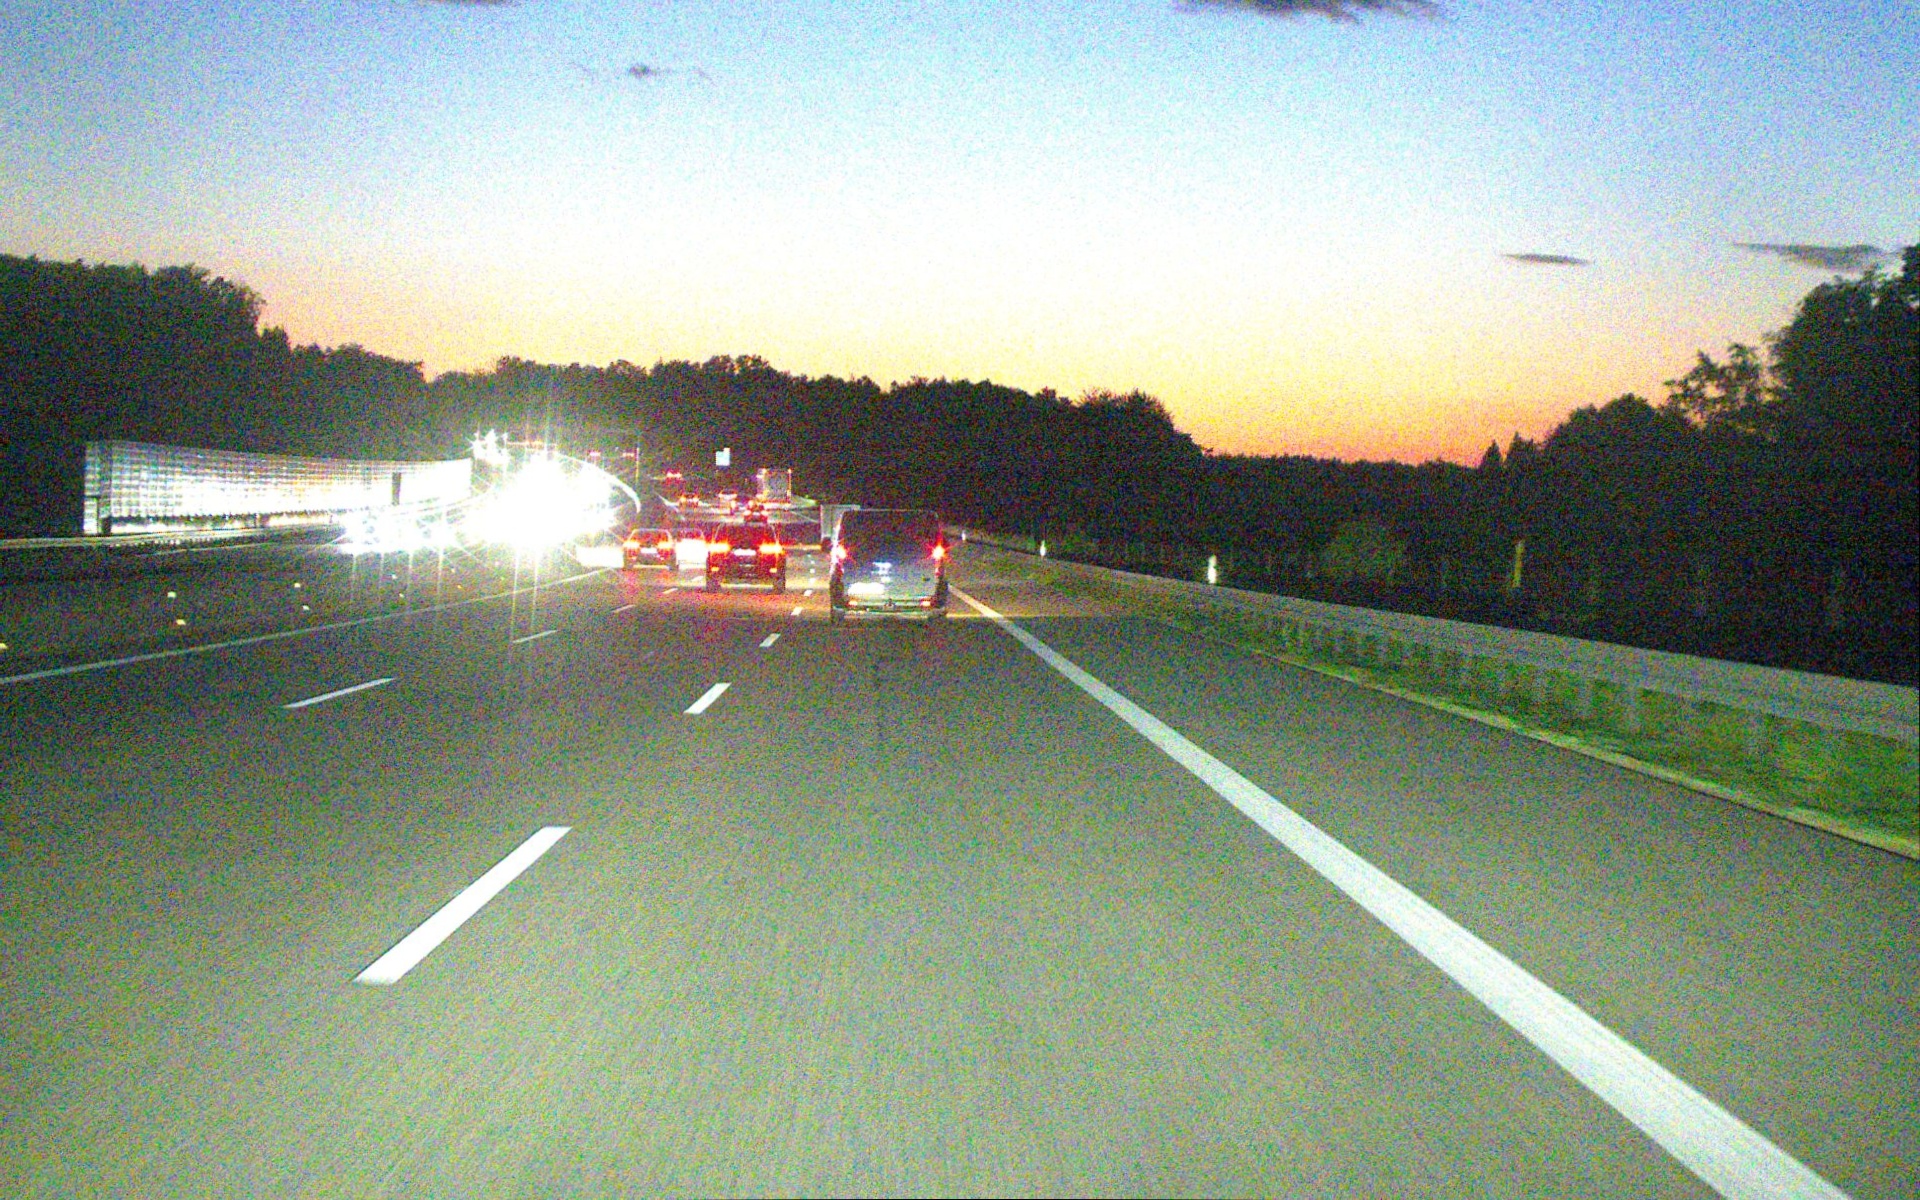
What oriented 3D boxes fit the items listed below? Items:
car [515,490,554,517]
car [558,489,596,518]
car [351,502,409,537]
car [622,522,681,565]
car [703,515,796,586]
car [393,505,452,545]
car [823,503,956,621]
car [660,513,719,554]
[{"bbox_3d":[-28.818,-6.523,232.882,2.104,1.783,4.870,1,2,-2],"label":"car"},{"bbox_3d":[-25.124,-6.311,225.505,2.104,1.783,4.320,1,1,-2],"label":"car"},{"bbox_3d":[-29.098,-4.041,172.720,2.104,1.682,5.387,1,1,-2],"label":"car"},{"bbox_3d":[-10.651,-1.942,119.098,1.550,1.426,5.514,0,0,0],"label":"car"},{"bbox_3d":[-5.273,-1.222,86.733,1.993,1.715,5.942,0,0,0],"label":"car"},{"bbox_3d":[-24.937,-3.476,159.555,2.104,1.783,4.659,1,1,-2],"label":"car"},{"bbox_3d":[-1.243,-0.697,59.491,2.196,1.948,4.764,0,2,-2],"label":"car"},{"bbox_3d":[-10.316,-2.561,131.440,1.779,1.481,5.254,-1,2,0],"label":"car"}]
